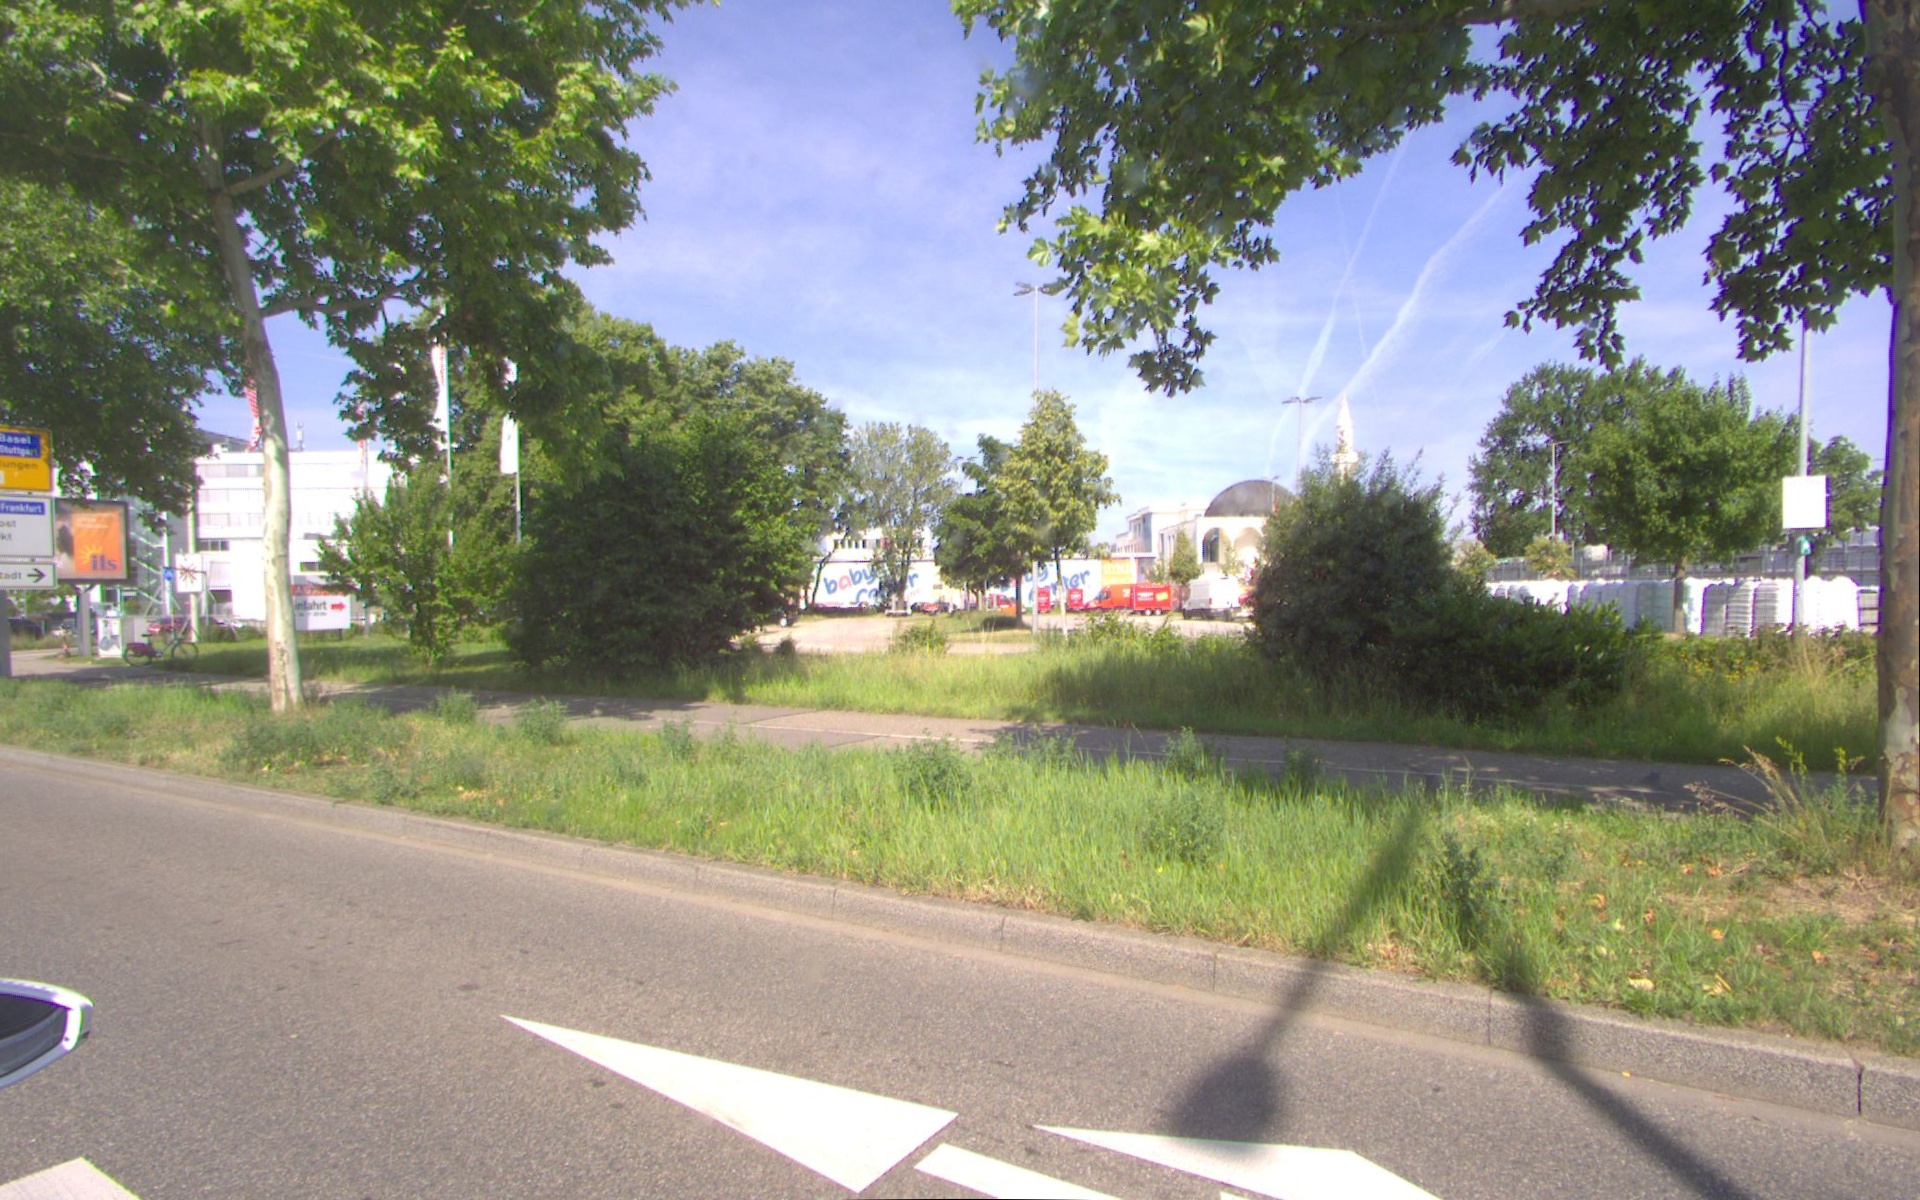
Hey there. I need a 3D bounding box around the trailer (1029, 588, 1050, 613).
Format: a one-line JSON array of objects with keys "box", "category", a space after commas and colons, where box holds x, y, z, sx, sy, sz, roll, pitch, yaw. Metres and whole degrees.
[{"box": [7.742, 0.022, 97.806, 1.560, 2.408, 4.410, 0, 1, -1], "category": "trailer"}]

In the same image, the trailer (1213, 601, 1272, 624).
[{"box": [15.930, 0.663, 56.627, 2.029, 1.137, 4.031, -3, 0, -2], "category": "trailer"}]

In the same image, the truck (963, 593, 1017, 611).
[{"box": [3.360, 0.234, 112.919, 5.888, 1.855, 2.188, 0, -2, -3], "category": "truck"}]

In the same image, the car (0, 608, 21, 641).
[{"box": [-50.151, 1.272, 50.238, 1.879, 1.711, 4.625, -1, 0, -4], "category": "car"}]

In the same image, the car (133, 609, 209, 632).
[{"box": [-54.008, 1.379, 68.630, 1.747, 1.463, 4.625, -1, 0, -4], "category": "car"}]

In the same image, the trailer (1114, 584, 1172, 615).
[{"box": [14.502, -0.040, 79.447, 4.325, 2.409, 1.751, 0, 1, 0], "category": "trailer"}]

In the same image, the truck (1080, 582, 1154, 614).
[{"box": [13.326, -0.136, 85.183, 5.914, 2.644, 2.018, 0, 0, -6], "category": "truck"}]

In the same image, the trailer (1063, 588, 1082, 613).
[{"box": [10.889, 0.034, 97.188, 1.520, 2.390, 4.410, 0, 1, 2], "category": "trailer"}]

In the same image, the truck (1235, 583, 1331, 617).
[{"box": [21.618, 0.004, 67.181, 5.751, 2.168, 2.066, -1, 0, -1], "category": "truck"}]

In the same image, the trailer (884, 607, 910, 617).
[{"box": [-5.951, 1.122, 94.904, 2.059, 0.792, 4.411, -1, 0, 1], "category": "trailer"}]

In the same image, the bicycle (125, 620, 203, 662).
[{"box": [-23.807, 1.215, 29.986, 1.771, 1.123, 0.499, -3, 2, -40], "category": "bicycle"}]

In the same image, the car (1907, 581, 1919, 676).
[{"box": [16.437, 0.470, 15.240, 1.820, 1.606, 3.849, -1, 0, 25], "category": "car"}]

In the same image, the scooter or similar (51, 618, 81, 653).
[{"box": [-29.901, 1.194, 33.500, 1.107, 1.141, 0.423, 0, 1, 32], "category": "scooter or similar"}]

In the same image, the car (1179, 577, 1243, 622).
[{"box": [15.512, -0.043, 62.218, 1.980, 2.576, 5.687, -3, 0, -6], "category": "car"}]

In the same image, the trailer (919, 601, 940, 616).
[{"box": [-2.937, 0.812, 95.652, 1.560, 1.304, 4.409, -1, 0, -7], "category": "trailer"}]
